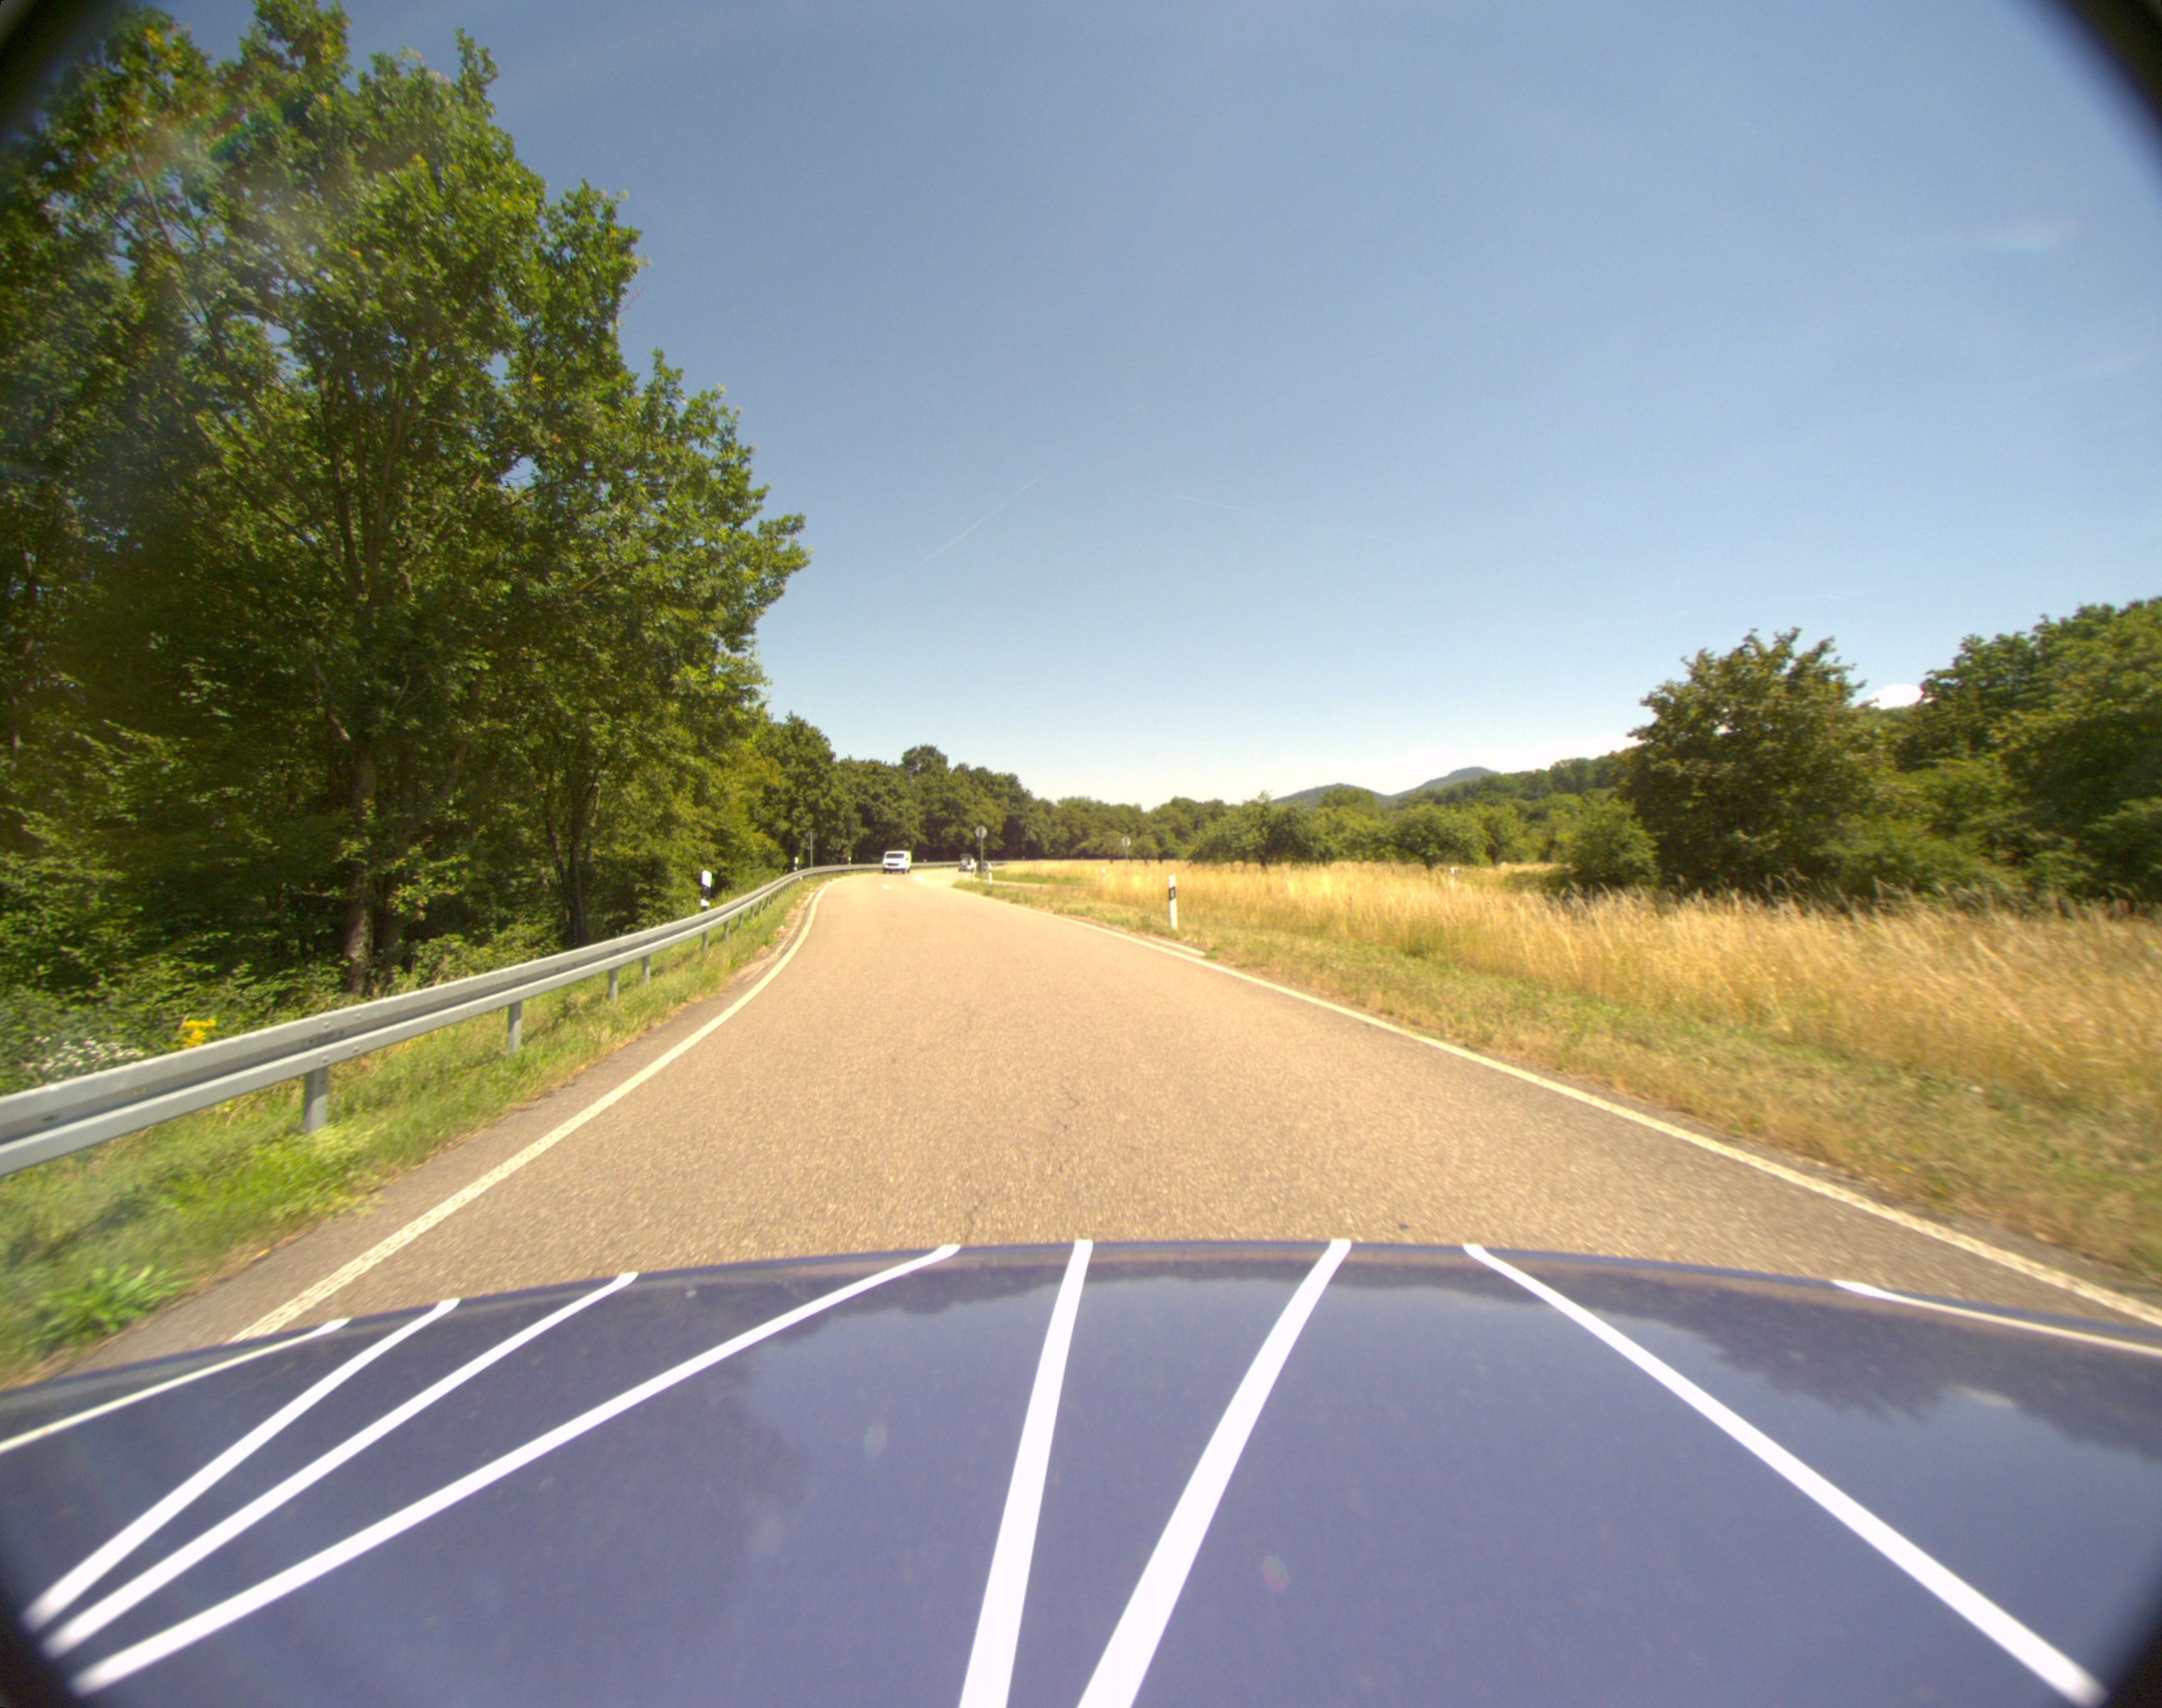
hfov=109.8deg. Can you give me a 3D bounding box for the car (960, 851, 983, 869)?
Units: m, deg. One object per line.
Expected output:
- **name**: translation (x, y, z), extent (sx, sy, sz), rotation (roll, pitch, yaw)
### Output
- **car**: translation (-12.332, 0.670, 85.714), extent (1.998, 2.002, 4.444), rotation (1, 0, 0)

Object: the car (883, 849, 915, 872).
- **car**: translation (-16.134, 0.552, 67.517), extent (1.999, 2.002, 4.443), rotation (1, 0, -3)
